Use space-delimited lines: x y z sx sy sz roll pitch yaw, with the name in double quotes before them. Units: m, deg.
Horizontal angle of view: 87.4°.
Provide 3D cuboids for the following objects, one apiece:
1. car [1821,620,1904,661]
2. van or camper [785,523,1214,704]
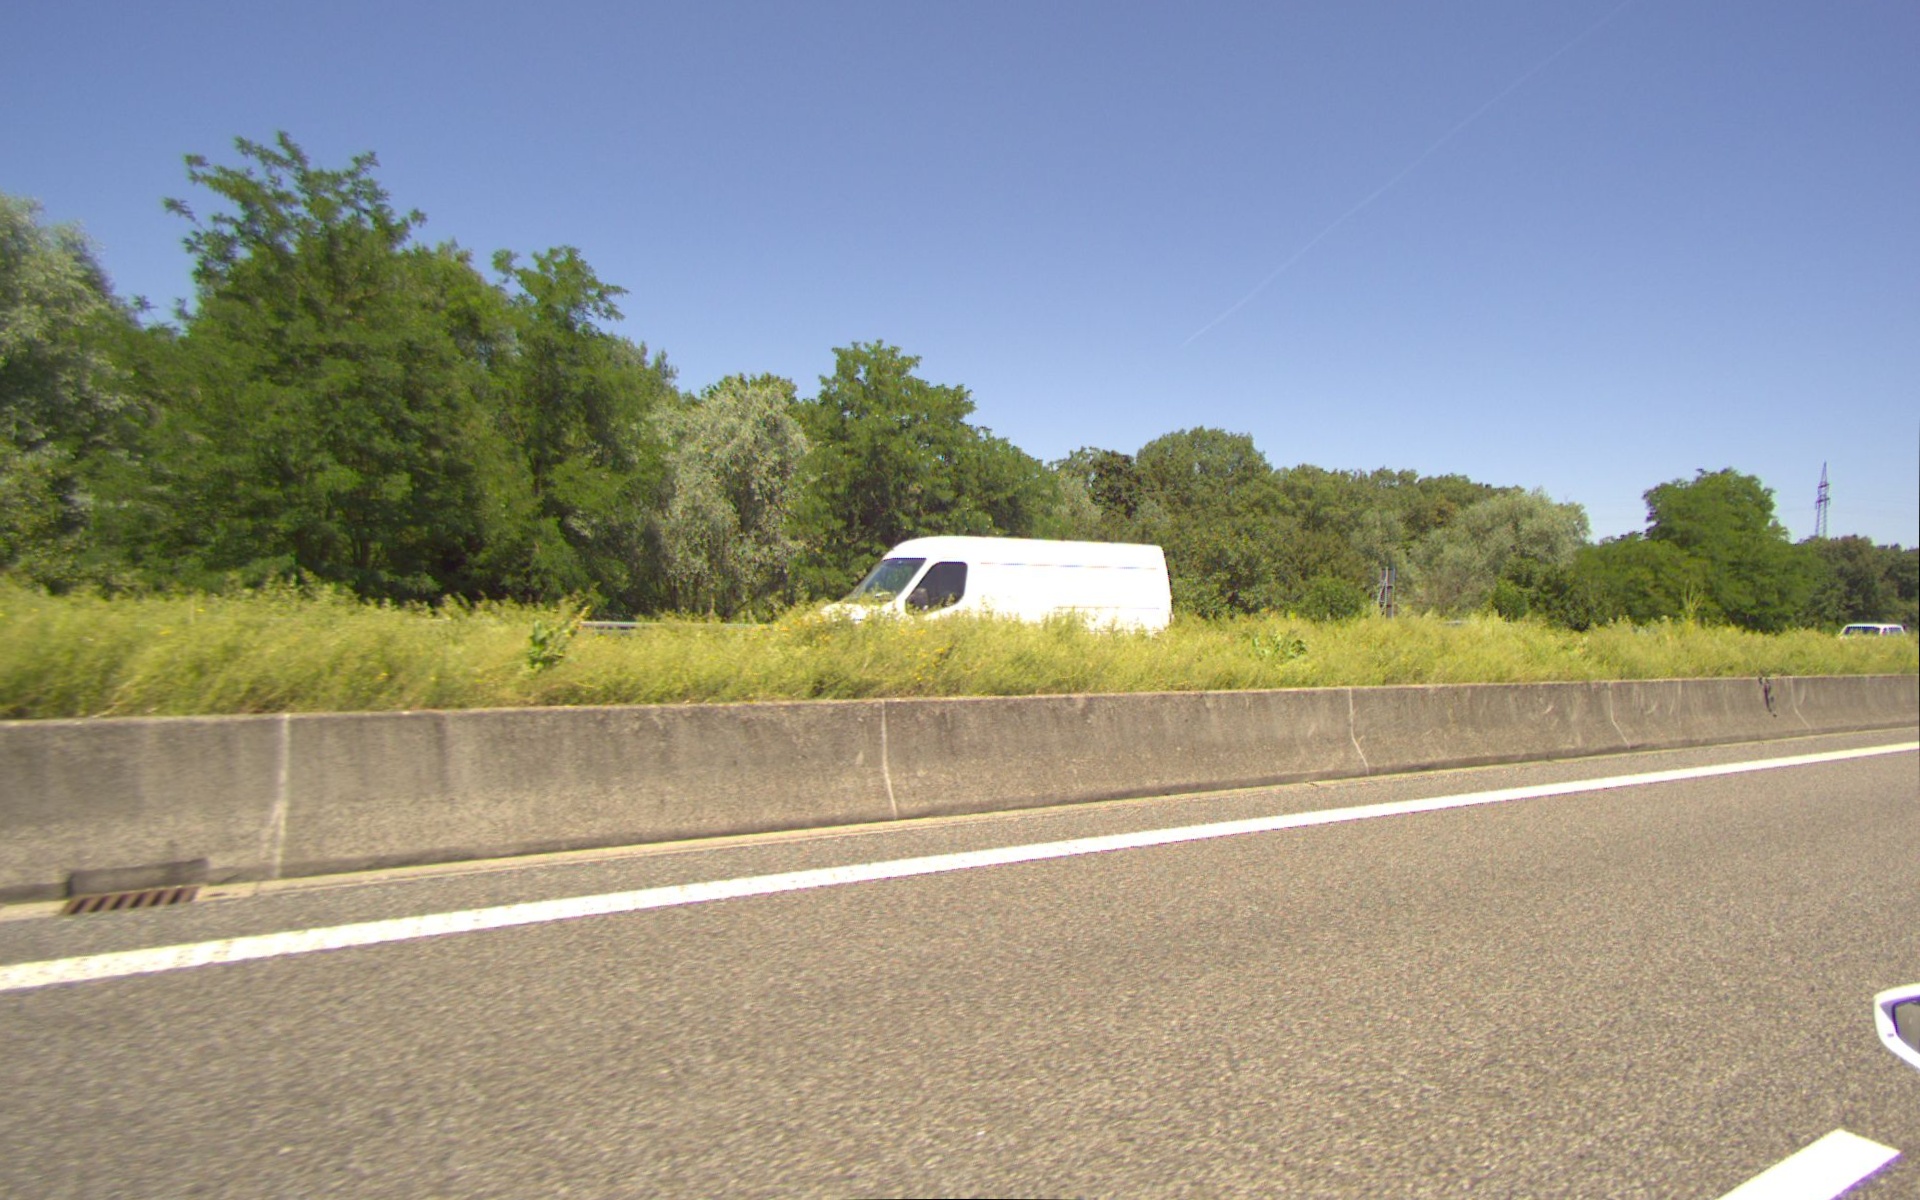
"car" 47.495 2.139 52.844 4.565 2.040 1.983 2 0 -31
"van or camper" 0.778 0.262 16.078 6.678 2.419 2.240 2 0 -30
